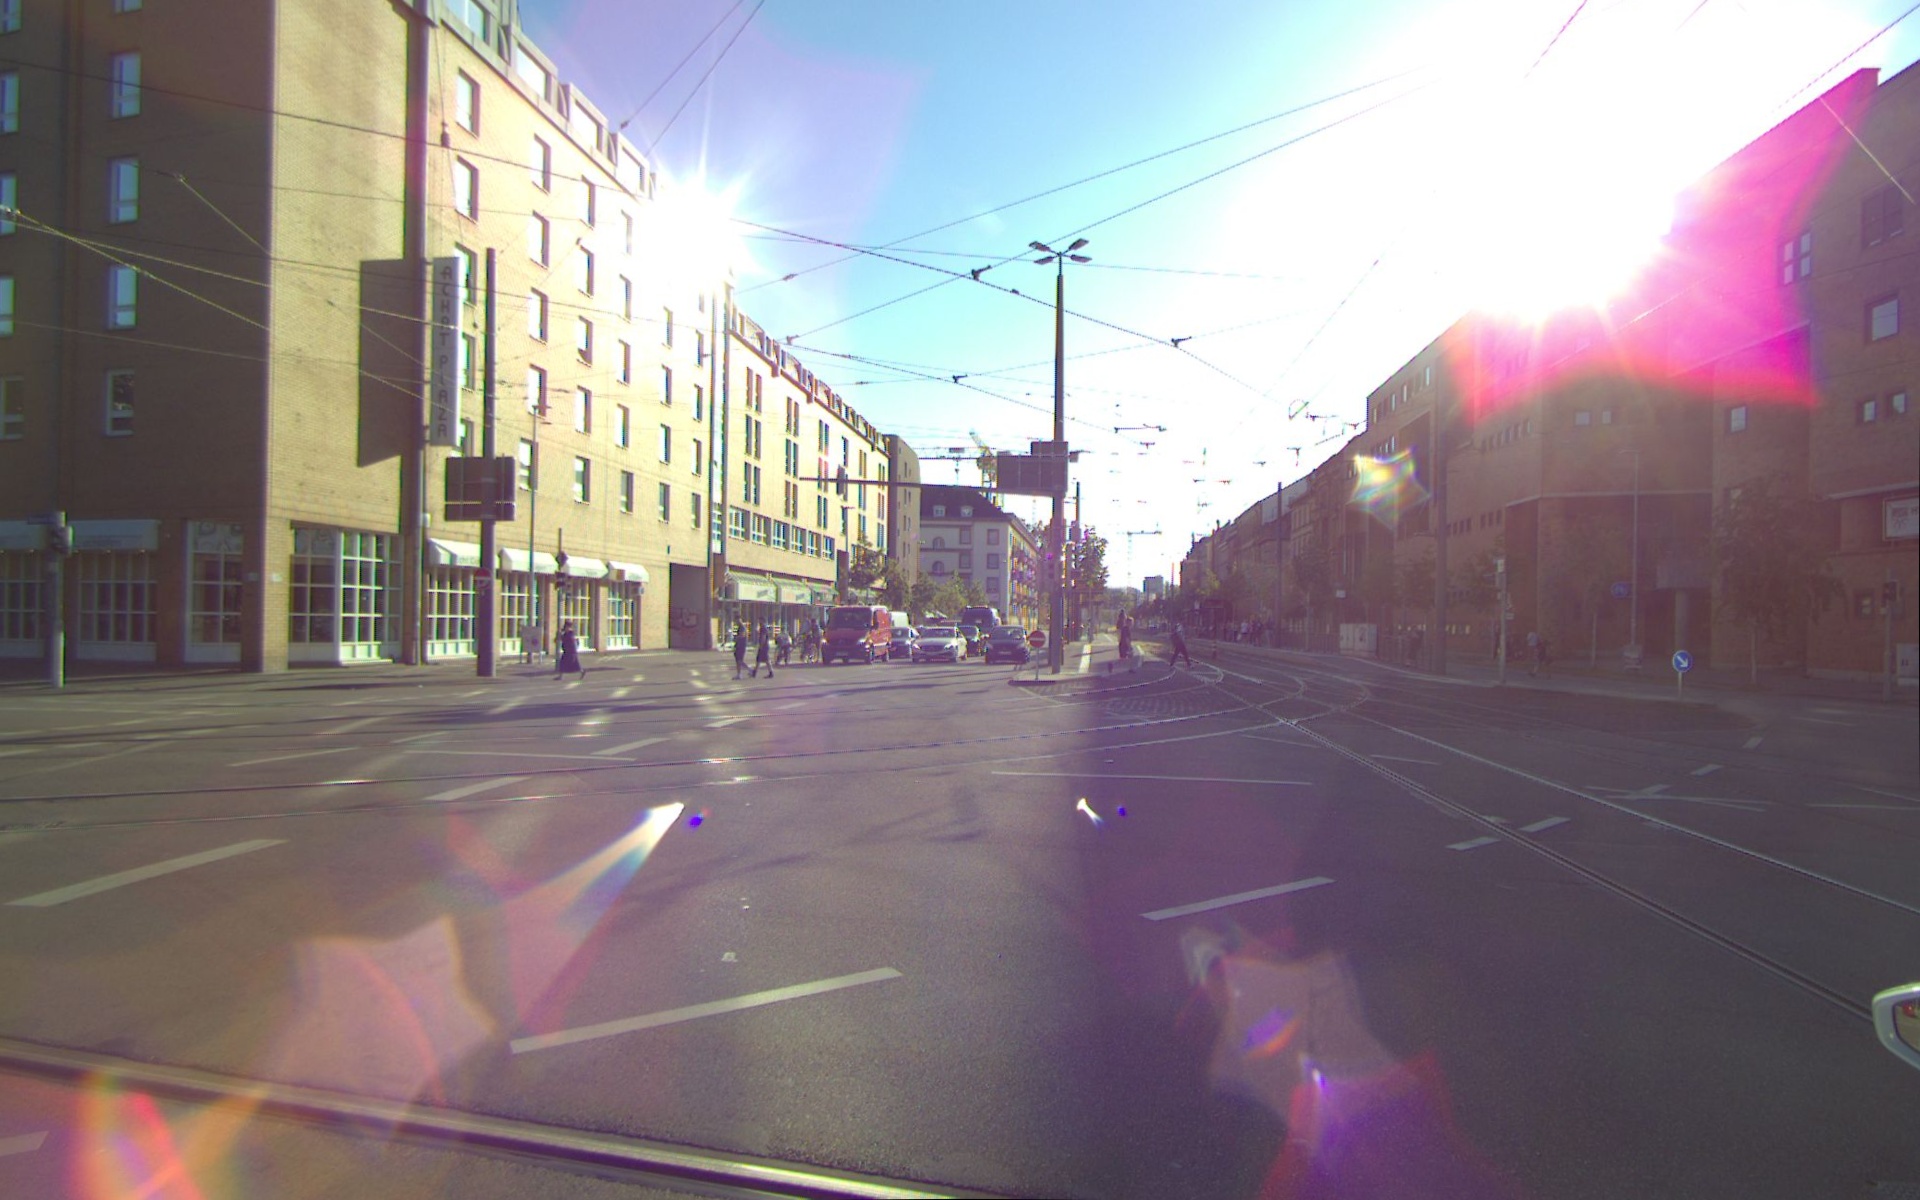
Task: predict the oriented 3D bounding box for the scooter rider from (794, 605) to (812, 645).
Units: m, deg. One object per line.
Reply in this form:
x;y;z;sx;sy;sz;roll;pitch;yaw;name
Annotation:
-7.017;1.124;44.963;0.525;1.778;0.569;0;-1;32;scooter rider

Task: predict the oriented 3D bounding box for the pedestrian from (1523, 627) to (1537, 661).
30.061;2.330;52.981;0.527;1.779;0.696;1;-1;18;pedestrian

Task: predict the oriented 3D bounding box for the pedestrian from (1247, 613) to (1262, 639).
17.079;1.499;58.263;0.670;1.503;0.829;1;-1;9;pedestrian

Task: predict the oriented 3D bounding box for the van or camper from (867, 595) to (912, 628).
-4.950;0.755;71.161;1.959;2.199;5.618;1;1;9;van or camper

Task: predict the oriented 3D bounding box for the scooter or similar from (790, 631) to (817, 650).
-6.997;1.816;44.998;0.535;0.842;1.237;0;-1;31;scooter or similar

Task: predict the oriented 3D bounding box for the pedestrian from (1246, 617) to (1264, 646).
17.699;1.891;60.292;0.872;1.694;1.096;1;-1;6;pedestrian

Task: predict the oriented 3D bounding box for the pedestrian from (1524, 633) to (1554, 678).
20.631;1.974;35.804;0.701;1.559;0.852;1;-1;16;pedestrian

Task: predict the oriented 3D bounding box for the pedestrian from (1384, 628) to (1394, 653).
31.785;2.995;74.435;0.528;1.779;0.421;1;-1;-6;pedestrian

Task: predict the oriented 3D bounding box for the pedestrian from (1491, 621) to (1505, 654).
29.424;2.026;54.978;0.527;1.779;0.465;1;-1;6;pedestrian

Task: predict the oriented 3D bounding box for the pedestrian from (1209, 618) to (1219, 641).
19.734;2.295;78.077;0.707;1.755;0.652;1;-1;7;pedestrian

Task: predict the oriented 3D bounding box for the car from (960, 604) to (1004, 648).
1.325;1.503;58.133;2.010;2.389;4.923;1;-1;7;car

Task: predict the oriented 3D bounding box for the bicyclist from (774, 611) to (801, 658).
-6.813;1.351;39.732;0.801;1.810;0.816;1;-1;7;bicyclist

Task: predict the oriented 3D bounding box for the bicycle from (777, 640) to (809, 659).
-9.335;2.761;56.196;1.697;0.993;0.641;0;-1;26;bicycle

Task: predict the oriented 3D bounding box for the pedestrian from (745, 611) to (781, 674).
-5.626;1.206;28.668;0.631;1.740;0.775;0;-1;36;pedestrian

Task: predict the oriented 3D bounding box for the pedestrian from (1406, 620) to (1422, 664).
16.236;1.506;35.921;0.481;1.559;0.551;1;-1;22;pedestrian

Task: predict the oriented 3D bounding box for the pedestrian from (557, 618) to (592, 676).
-10.717;1.308;27.939;0.856;1.574;0.543;1;-1;-19;pedestrian

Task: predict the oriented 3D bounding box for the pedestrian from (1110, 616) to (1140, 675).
4.884;1.348;29.745;0.613;1.724;0.748;1;-1;-11;pedestrian

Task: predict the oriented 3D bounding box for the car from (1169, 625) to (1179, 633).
45.712;6.220;214.299;1.818;1.477;4.159;1;0;9;car

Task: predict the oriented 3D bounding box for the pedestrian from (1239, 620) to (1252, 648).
17.422;2.079;61.343;0.645;1.694;0.672;1;-1;6;pedestrian

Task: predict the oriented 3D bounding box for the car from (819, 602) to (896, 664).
-4.070;1.321;40.661;2.043;2.319;5.268;1;-1;6;car

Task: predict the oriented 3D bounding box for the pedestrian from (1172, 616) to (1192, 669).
7.427;1.420;33.688;0.628;1.740;0.778;1;-1;12;pedestrian

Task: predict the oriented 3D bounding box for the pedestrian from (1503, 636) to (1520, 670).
29.087;2.772;52.967;0.721;1.779;0.695;1;-1;26;pedestrian

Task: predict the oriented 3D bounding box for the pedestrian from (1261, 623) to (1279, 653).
17.821;2.174;57.770;0.872;1.694;0.672;1;-1;6;pedestrian

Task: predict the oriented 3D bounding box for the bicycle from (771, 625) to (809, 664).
-6.720;1.742;39.795;0.914;1.461;2.105;1;-1;7;bicycle

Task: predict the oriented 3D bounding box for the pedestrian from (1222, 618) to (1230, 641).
20.788;2.311;78.459;0.496;1.755;0.652;1;-1;7;pedestrian

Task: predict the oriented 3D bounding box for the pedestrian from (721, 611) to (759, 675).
-6.116;1.176;27.946;0.631;1.740;0.775;0;-1;36;pedestrian

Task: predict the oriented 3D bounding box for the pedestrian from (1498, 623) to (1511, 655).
30.132;2.148;55.609;0.527;1.779;0.422;1;-1;10;pedestrian

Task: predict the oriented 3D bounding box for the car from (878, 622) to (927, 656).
-2.843;1.914;50.583;1.854;1.553;4.002;1;0;6;car

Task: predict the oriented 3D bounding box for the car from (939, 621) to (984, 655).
0.114;1.890;50.731;1.854;1.553;4.002;1;0;6;car

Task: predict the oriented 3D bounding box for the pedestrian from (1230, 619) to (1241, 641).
20.497;2.230;74.753;0.661;1.582;0.907;1;-1;7;pedestrian

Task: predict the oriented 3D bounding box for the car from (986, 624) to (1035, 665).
2.075;1.758;40.329;1.727;1.467;4.002;1;0;6;car

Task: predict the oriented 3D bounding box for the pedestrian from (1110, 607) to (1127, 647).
6.791;1.173;43.147;0.665;1.706;0.576;1;-1;12;pedestrian

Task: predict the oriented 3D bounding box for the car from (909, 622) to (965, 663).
-0.904;1.725;42.064;1.854;1.553;4.002;1;0;6;car
